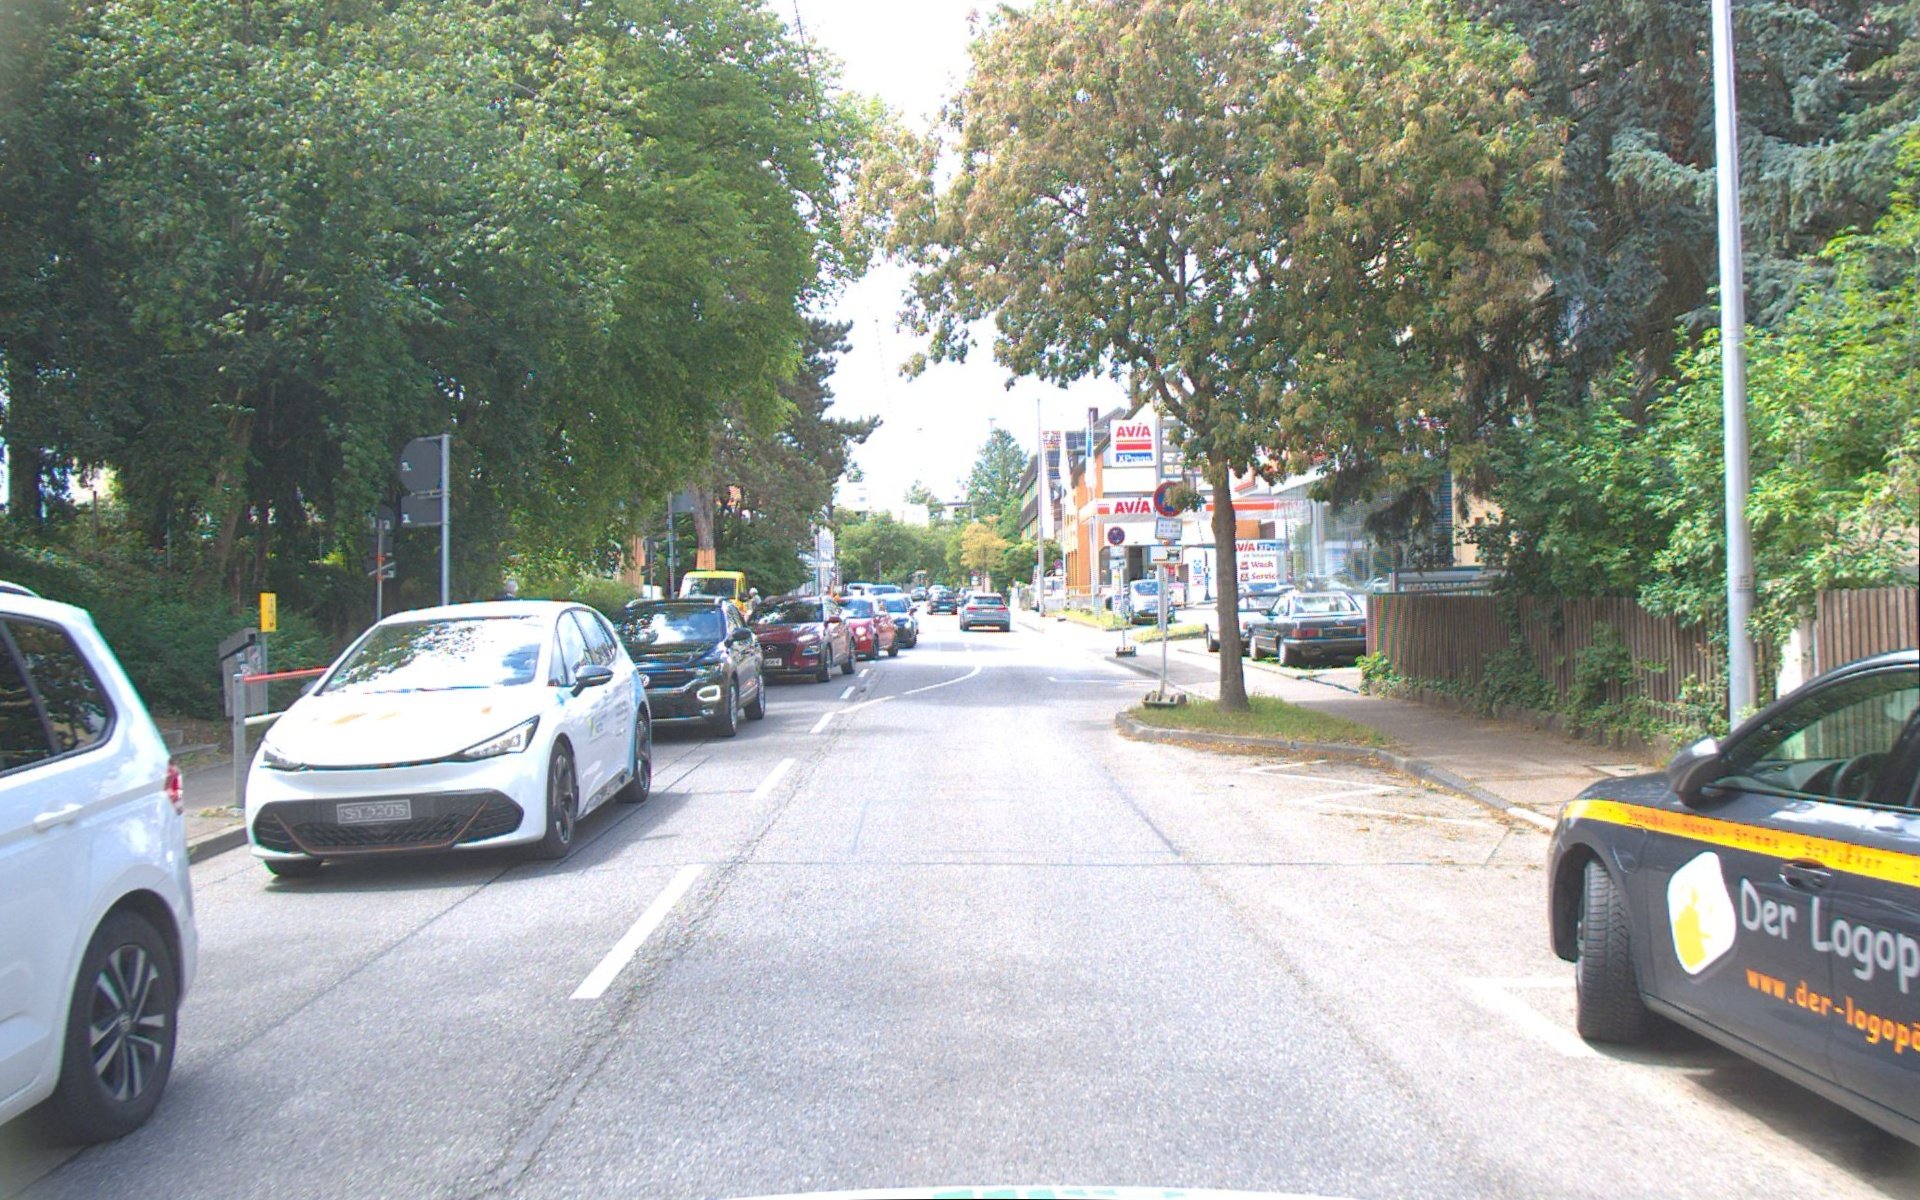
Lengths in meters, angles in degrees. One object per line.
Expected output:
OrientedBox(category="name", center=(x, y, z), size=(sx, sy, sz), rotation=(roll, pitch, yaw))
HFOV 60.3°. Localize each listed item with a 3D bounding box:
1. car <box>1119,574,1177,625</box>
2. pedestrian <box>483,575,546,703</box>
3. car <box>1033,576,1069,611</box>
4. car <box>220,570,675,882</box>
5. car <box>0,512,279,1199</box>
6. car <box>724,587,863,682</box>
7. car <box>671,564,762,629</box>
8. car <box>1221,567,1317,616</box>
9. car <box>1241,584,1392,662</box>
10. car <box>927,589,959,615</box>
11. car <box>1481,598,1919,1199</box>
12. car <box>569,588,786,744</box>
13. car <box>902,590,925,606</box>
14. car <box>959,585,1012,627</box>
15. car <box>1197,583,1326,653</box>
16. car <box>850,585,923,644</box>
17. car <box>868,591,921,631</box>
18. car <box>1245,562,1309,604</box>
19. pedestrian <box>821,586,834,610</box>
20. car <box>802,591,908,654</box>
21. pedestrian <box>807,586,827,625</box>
OrientedBox(category="car", center=(6.799, -0.032, 60.128), size=(1.747, 1.663, 3.693), rotation=(-4, 0, 2))
OrientedBox(category="pedestrian", center=(-6.413, 0.555, 23.834), size=(0.700, 1.793, 1.120), rotation=(-1, -1, -6))
OrientedBox(category="car", center=(5.447, -0.376, 99.190), size=(1.952, 2.049, 4.000), rotation=(-1, 0, 0))
OrientedBox(category="car", center=(-3.154, 0.667, 11.114), size=(1.749, 1.619, 4.153), rotation=(-3, 1, -1))
OrientedBox(category="car", center=(-3.183, 0.674, 3.317), size=(1.750, 1.676, 4.490), rotation=(-3, 1, -1))
OrientedBox(category="car", center=(-3.030, 0.596, 30.915), size=(1.724, 1.560, 4.099), rotation=(-2, 1, 6))
OrientedBox(category="car", center=(-7.852, -0.094, 53.719), size=(2.101, 2.015, 4.931), rotation=(-1, 0, 1))
OrientedBox(category="car", center=(9.285, -0.253, 50.025), size=(1.806, 1.379, 4.065), rotation=(-1, 0, -5))
OrientedBox(category="car", center=(6.527, 0.374, 30.712), size=(1.690, 1.339, 4.264), rotation=(0, 0, -3))
OrientedBox(category="car", center=(-1.073, 0.085, 100.837), size=(1.780, 1.527, 4.264), rotation=(0, 0, -3))
OrientedBox(category="car", center=(3.134, 0.734, 4.518), size=(1.788, 1.442, 4.506), rotation=(0, 0, -3))
OrientedBox(category="car", center=(-3.226, 0.690, 19.681), size=(1.752, 1.568, 4.264), rotation=(-2, 1, 1))
OrientedBox(category="car", center=(-4.591, -0.185, 164.909), size=(2.067, 1.527, 4.268), rotation=(-1, 0, 1))
OrientedBox(category="car", center=(0.981, 0.215, 64.993), size=(1.936, 1.539, 4.266), rotation=(2, 0, 0))
OrientedBox(category="car", center=(6.436, 0.341, 35.762), size=(1.689, 1.387, 4.481), rotation=(-1, 0, -4))
OrientedBox(category="car", center=(-2.067, 0.411, 47.650), size=(1.889, 1.605, 4.295), rotation=(-1, 0, 0))
OrientedBox(category="car", center=(-2.421, 0.412, 61.942), size=(1.920, 1.418, 4.294), rotation=(-1, 0, -1))
OrientedBox(category="car", center=(14.048, -0.743, 73.458), size=(1.750, 1.663, 3.688), rotation=(-4, 0, -5))
OrientedBox(category="pedestrian", center=(-8.032, -0.123, 100.140), size=(0.690, 1.464, 0.714), rotation=(-1, -1, 3))
OrientedBox(category="car", center=(-2.484, 0.534, 39.906), size=(1.655, 1.450, 3.440), rotation=(-1, 0, 12))
OrientedBox(category="pedestrian", center=(-5.483, 0.210, 63.333), size=(0.692, 1.464, 0.711), rotation=(0, -1, -13))
